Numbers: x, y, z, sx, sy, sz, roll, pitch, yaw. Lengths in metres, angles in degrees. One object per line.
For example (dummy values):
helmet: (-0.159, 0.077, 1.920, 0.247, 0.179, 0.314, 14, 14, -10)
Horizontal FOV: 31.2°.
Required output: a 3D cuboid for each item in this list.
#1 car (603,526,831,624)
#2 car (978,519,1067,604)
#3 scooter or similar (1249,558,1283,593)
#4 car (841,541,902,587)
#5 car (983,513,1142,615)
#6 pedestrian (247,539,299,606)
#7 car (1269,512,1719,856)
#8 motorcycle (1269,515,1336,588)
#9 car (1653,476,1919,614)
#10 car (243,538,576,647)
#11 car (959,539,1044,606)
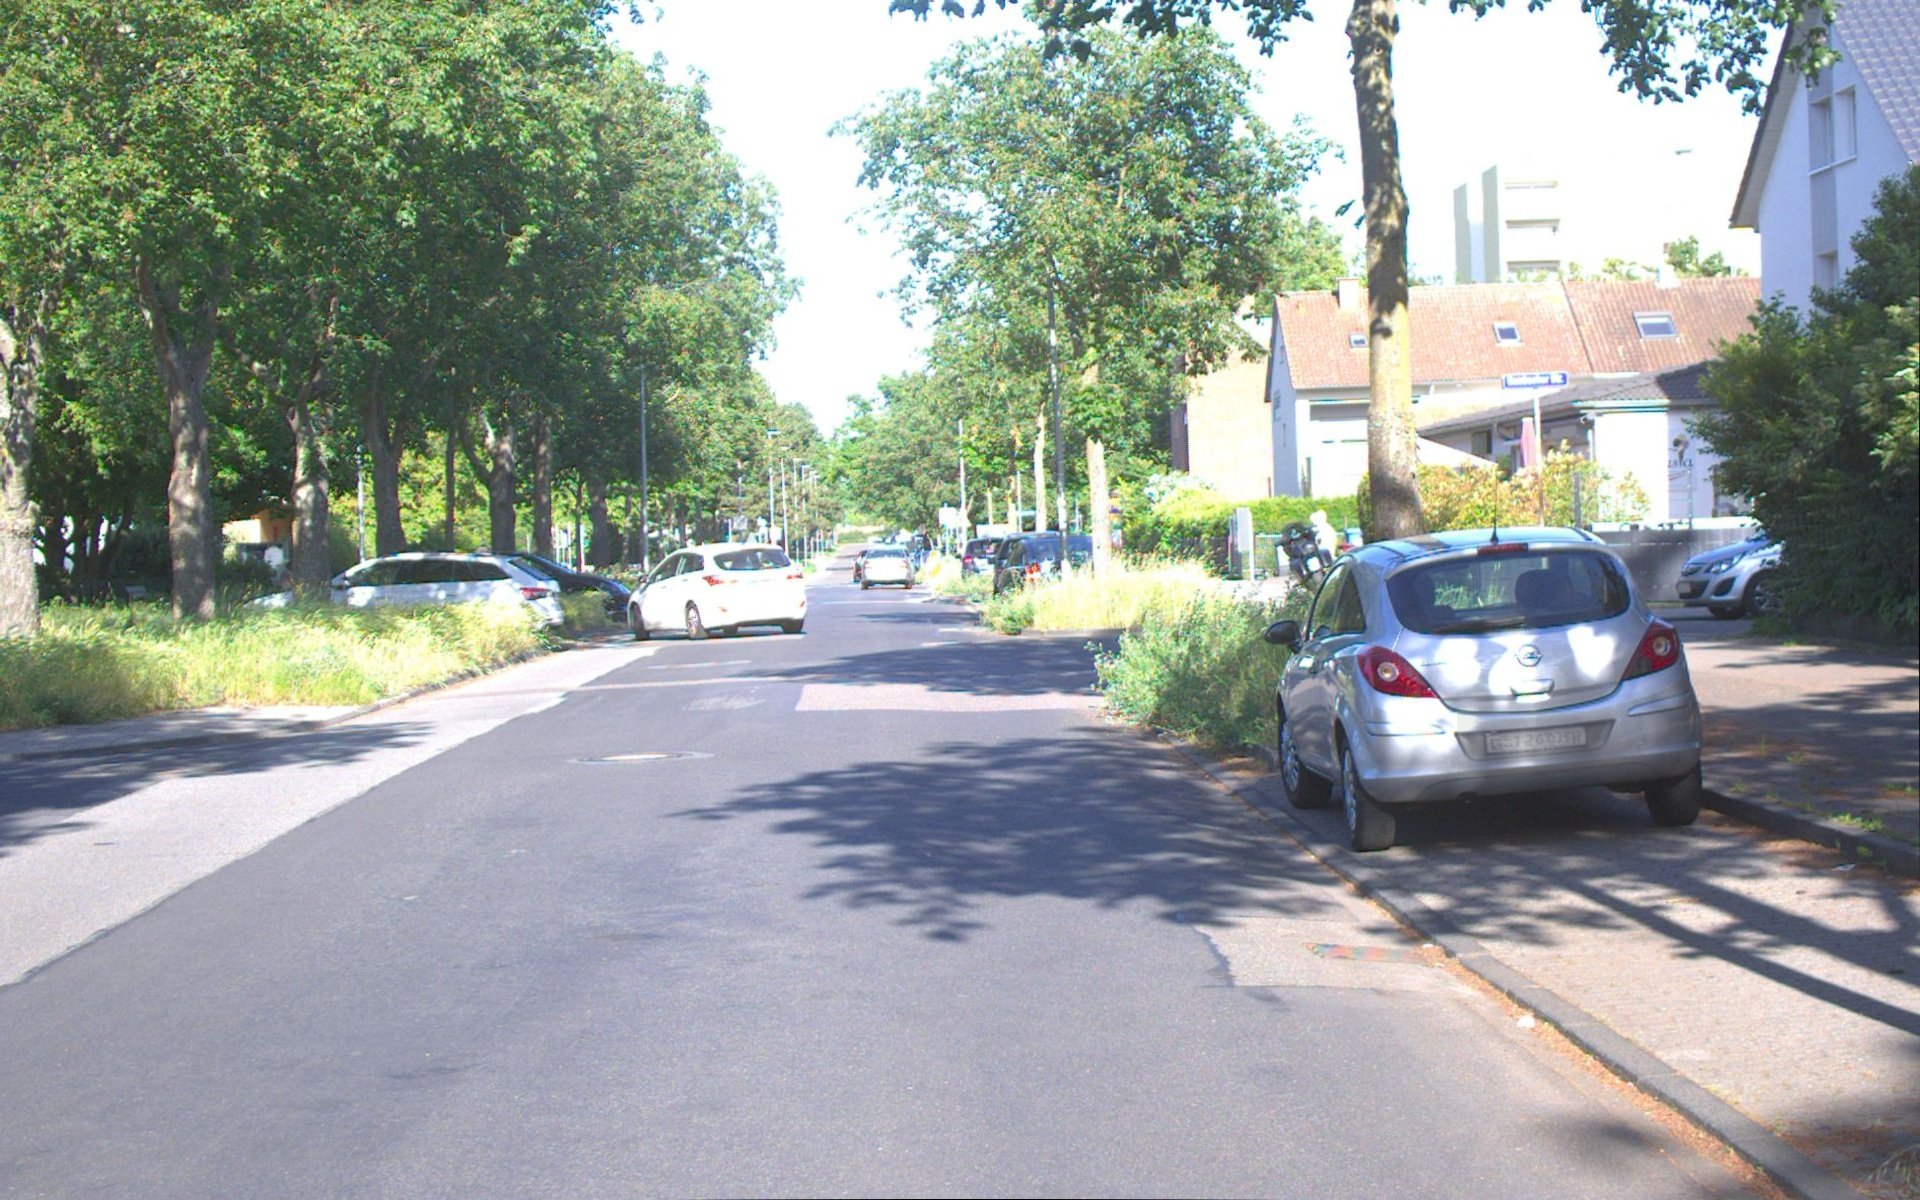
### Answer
car: (-3.926, -0.403, 54.862, 1.993, 1.450, 4.225, -2, 1, -29)
car: (1.230, -0.783, 69.585, 1.610, 1.616, 4.382, 1, 1, -1)
scooter or similar: (7.530, -0.599, 84.660, 0.368, 0.855, 1.412, 0, 1, -15)
car: (-2.995, -1.238, 116.740, 1.993, 1.503, 3.659, 1, 1, -1)
car: (1.694, -0.617, 58.167, 1.993, 1.616, 4.383, 1, 1, -7)
pedestrian: (-19.039, -0.763, 95.229, 1.224, 1.821, 1.551, 0, 0, -18)
car: (2.657, 0.372, 17.883, 1.994, 1.505, 3.999, -3, 0, 6)
motorcycle: (6.014, -0.865, 60.475, 0.818, 1.223, 2.352, -3, 1, -2)
car: (11.176, -0.737, 44.320, 3.986, 1.634, 1.777, -2, 1, -7)
car: (-8.248, -0.127, 51.802, 4.671, 1.498, 2.000, -1, 1, 0)
car: (1.145, -0.771, 97.018, 1.993, 1.722, 4.000, -3, 0, -4)
